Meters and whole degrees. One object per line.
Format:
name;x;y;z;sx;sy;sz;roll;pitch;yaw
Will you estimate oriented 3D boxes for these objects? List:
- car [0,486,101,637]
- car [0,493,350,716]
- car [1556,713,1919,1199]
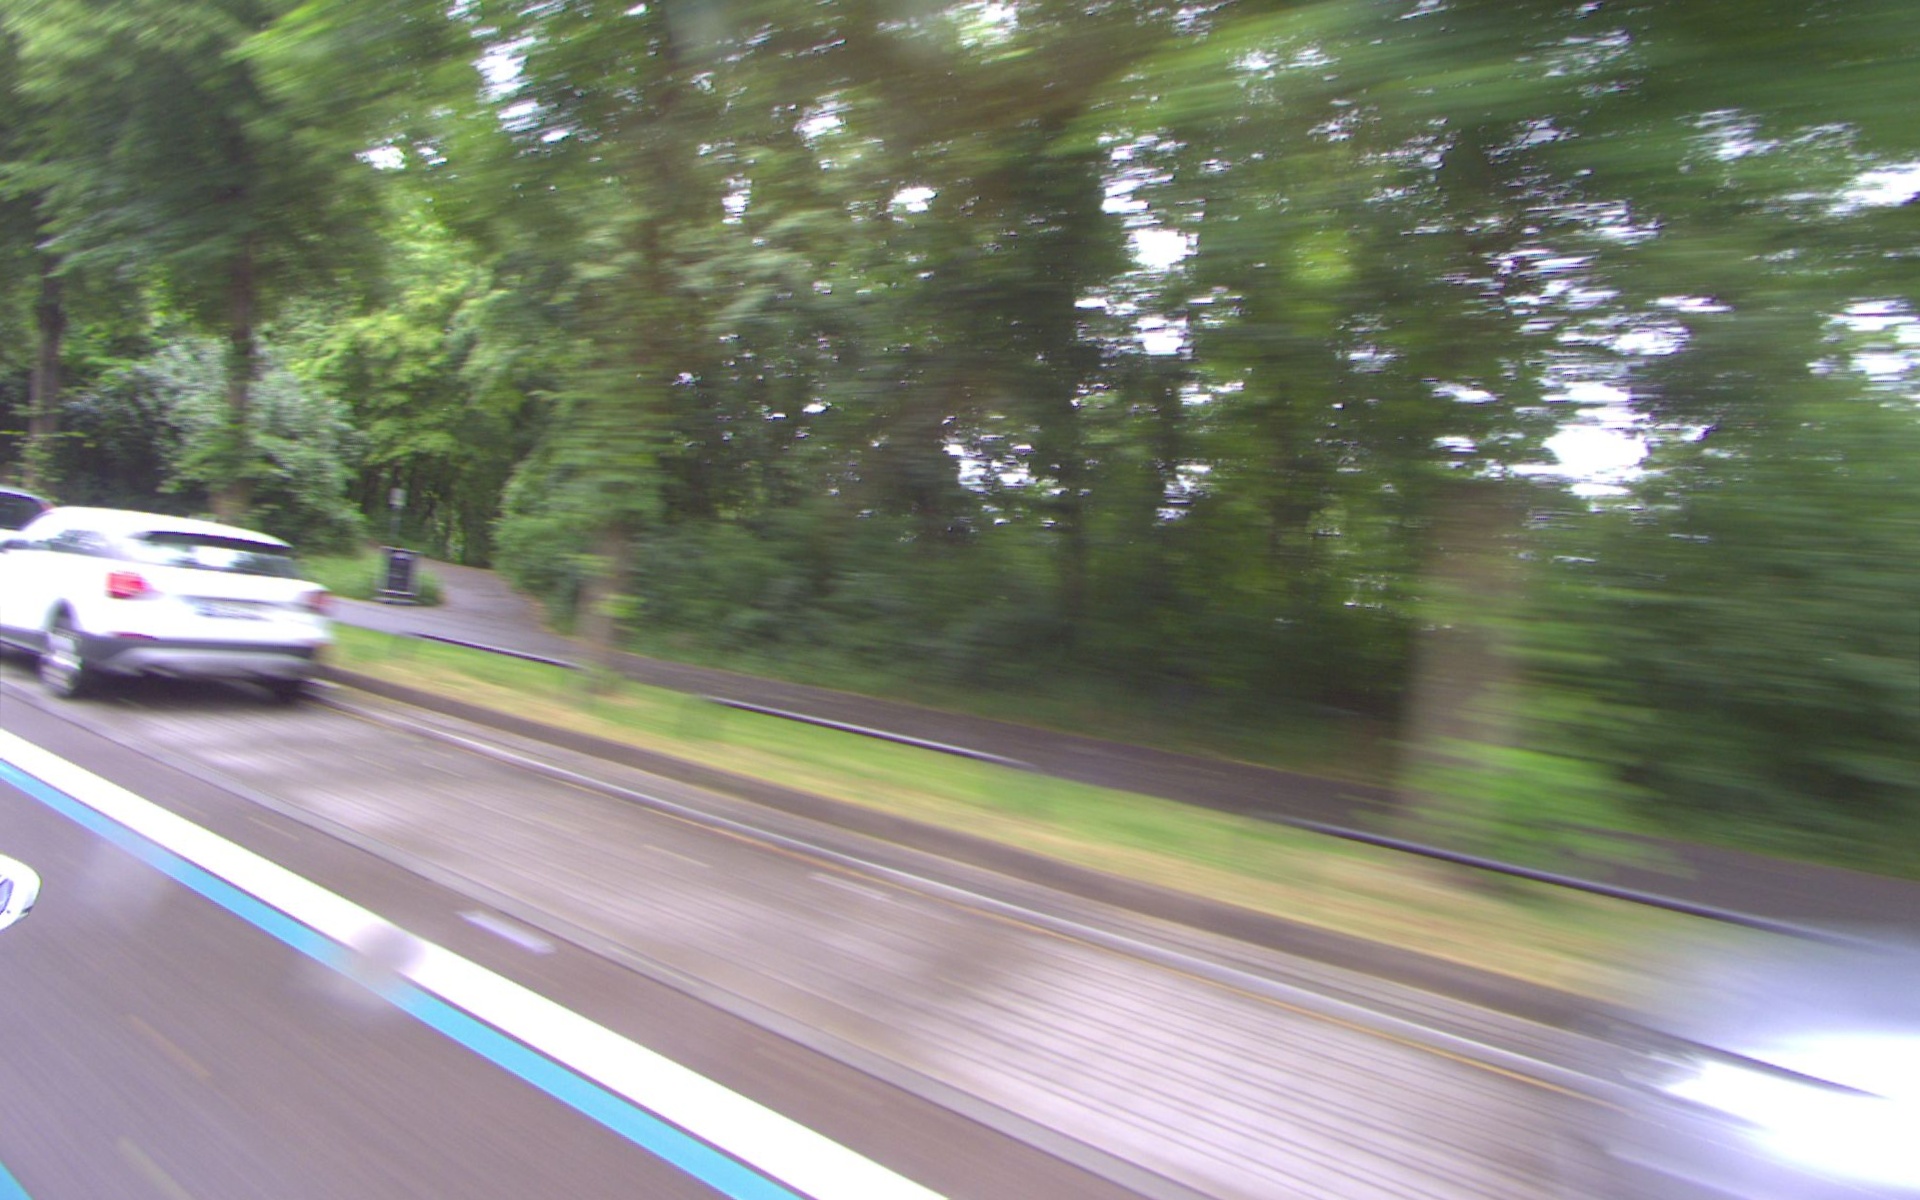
car;-12.547;-0.682;12.205;4.661;1.616;1.756;7;-1;31
car;-7.710;-0.053;9.244;4.395;1.531;1.701;7;-1;32
car;3.638;1.283;2.016;4.028;1.470;1.701;7;-1;30
